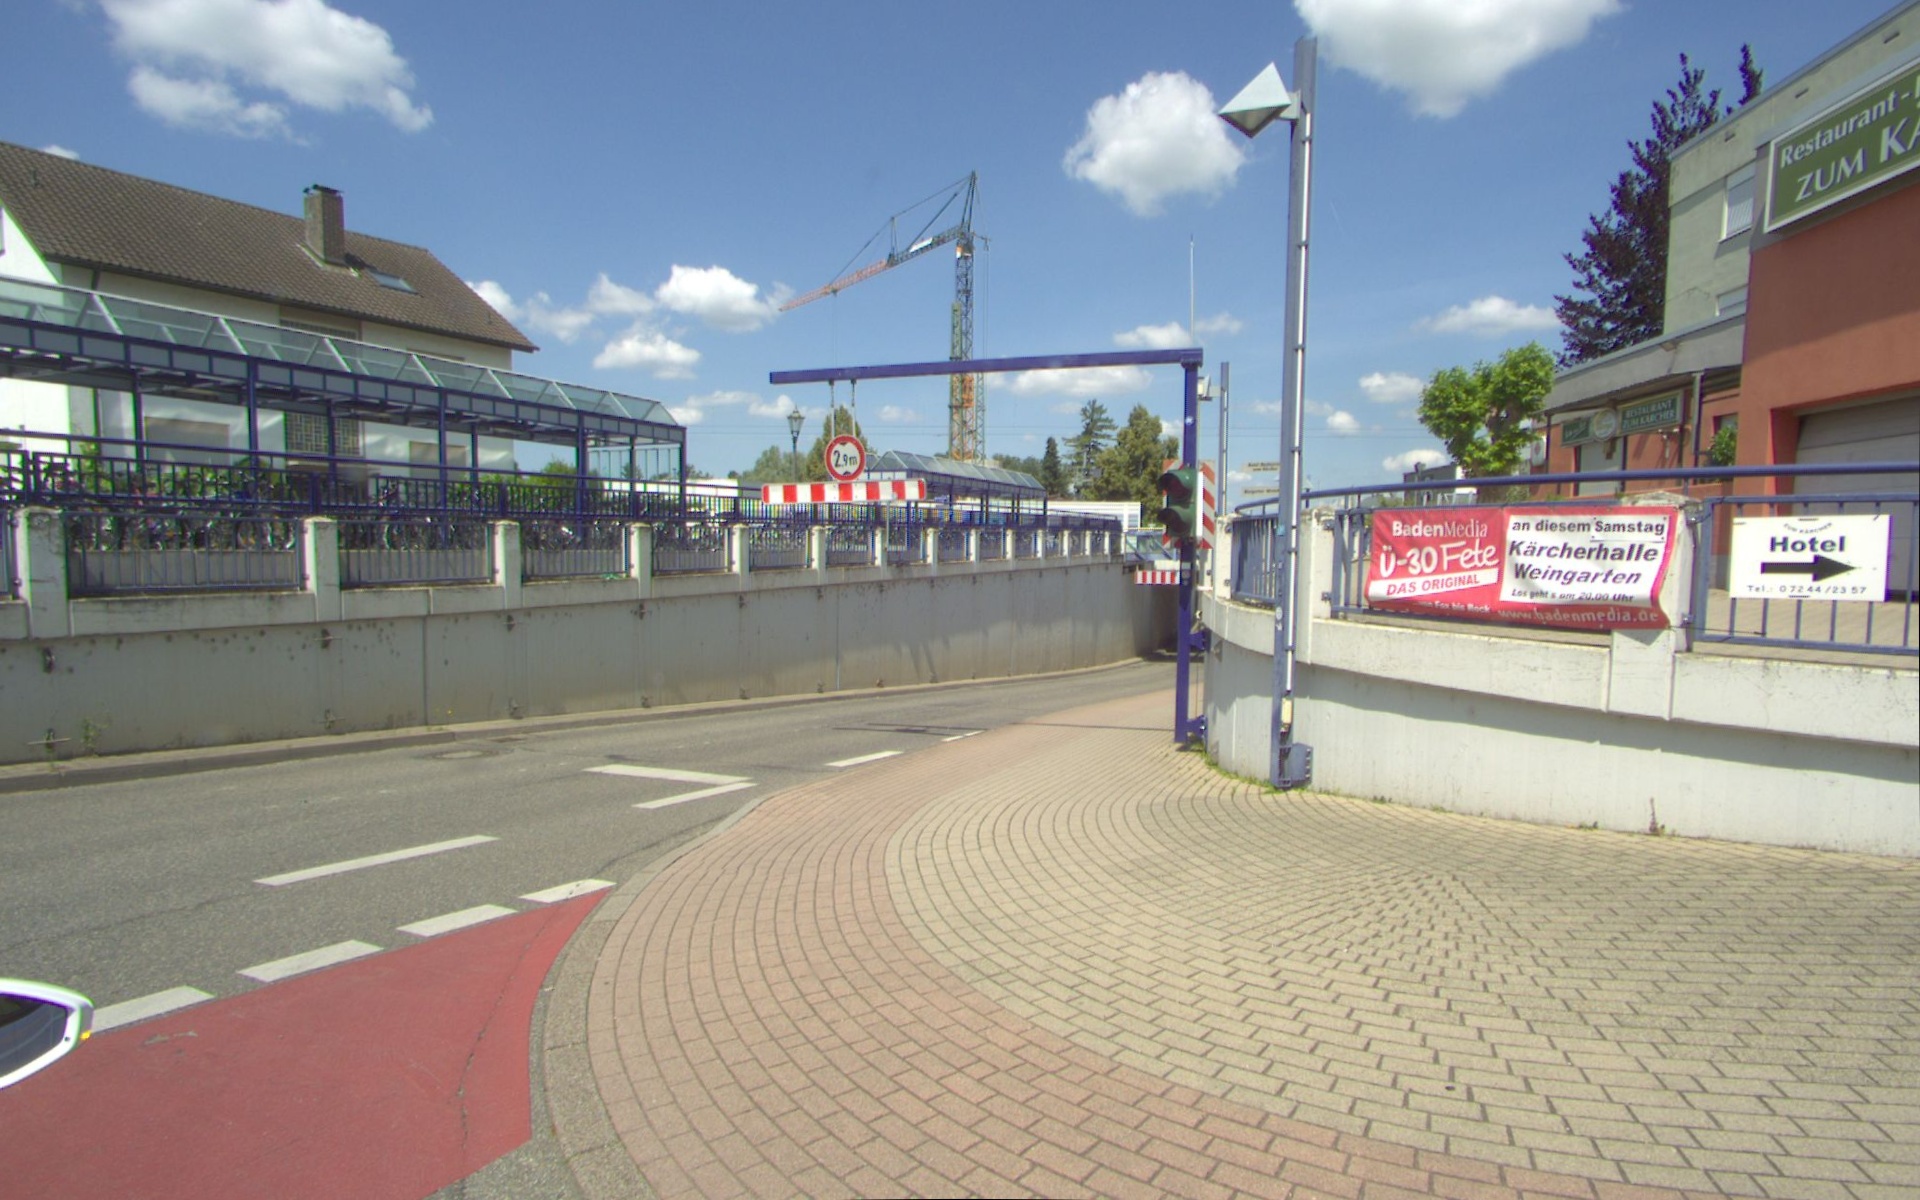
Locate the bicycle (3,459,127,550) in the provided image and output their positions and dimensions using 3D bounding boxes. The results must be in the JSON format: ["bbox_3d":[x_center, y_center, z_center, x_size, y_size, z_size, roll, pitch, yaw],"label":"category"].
[{"bbox_3d":[-10.589,-1.113,11.824,2.042,1.009,0.331,2,3,26],"label":"bicycle"}]

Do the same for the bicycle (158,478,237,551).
[{"bbox_3d":[-11.260,-1.243,14.762,1.939,1.009,0.371,3,3,36],"label":"bicycle"}]

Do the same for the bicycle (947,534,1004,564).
[{"bbox_3d":[0.537,-1.774,34.892,1.890,1.009,0.510,2,3,23],"label":"bicycle"}]

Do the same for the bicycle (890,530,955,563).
[{"bbox_3d":[-1.178,-1.674,31.391,1.992,1.009,0.510,2,3,23],"label":"bicycle"}]

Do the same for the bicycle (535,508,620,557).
[{"bbox_3d":[-8.091,-1.424,21.172,1.934,1.009,0.518,2,3,27],"label":"bicycle"}]

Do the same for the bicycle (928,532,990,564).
[{"bbox_3d":[-0.039,-1.727,33.385,1.992,1.009,0.510,2,3,23],"label":"bicycle"}]

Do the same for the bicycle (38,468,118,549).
[{"bbox_3d":[-11.776,-1.199,13.351,1.939,1.009,0.371,3,3,36],"label":"bicycle"}]

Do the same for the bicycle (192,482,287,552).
[{"bbox_3d":[-11.096,-1.264,15.400,1.935,1.009,0.425,3,3,30],"label":"bicycle"}]

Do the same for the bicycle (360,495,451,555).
[{"bbox_3d":[-9.871,-1.332,17.818,1.772,1.009,0.518,2,3,27],"label":"bicycle"}]

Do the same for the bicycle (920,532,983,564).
[{"bbox_3d":[-0.286,-1.712,32.843,1.992,1.009,0.510,2,3,23],"label":"bicycle"}]

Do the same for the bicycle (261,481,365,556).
[{"bbox_3d":[-9.260,-1.148,14.303,2.249,1.009,0.434,3,3,35],"label":"bicycle"}]

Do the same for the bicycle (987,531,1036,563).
[{"bbox_3d":[1.972,-2.007,38.157,1.792,1.174,0.510,2,3,25],"label":"bicycle"}]

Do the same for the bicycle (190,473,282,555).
[{"bbox_3d":[-9.568,-1.111,13.202,2.075,1.009,0.433,3,3,39],"label":"bicycle"}]

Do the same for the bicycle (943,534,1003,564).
[{"bbox_3d":[0.449,-1.751,34.267,1.992,1.009,0.510,2,3,23],"label":"bicycle"}]

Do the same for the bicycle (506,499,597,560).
[{"bbox_3d":[-7.268,-1.239,17.761,2.161,1.009,0.576,3,3,41],"label":"bicycle"}]

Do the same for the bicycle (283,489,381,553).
[{"bbox_3d":[-10.364,-1.292,16.509,1.934,1.009,0.413,2,3,27],"label":"bicycle"}]

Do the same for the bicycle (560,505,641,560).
[{"bbox_3d":[-6.928,-1.289,19.232,2.013,1.009,0.513,3,3,40],"label":"bicycle"}]

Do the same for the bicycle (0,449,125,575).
[{"bbox_3d":[-8.926,-0.804,9.081,0.327,1.141,2.113,3,3,25],"label":"bicycle"}]

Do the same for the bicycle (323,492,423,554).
[{"bbox_3d":[-10.066,-1.311,17.161,1.934,1.009,0.518,2,3,27],"label":"bicycle"}]

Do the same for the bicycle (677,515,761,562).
[{"bbox_3d":[-5.395,-1.378,22.364,2.008,1.009,0.543,3,3,30],"label":"bicycle"}]

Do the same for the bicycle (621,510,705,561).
[{"bbox_3d":[-6.118,-1.324,20.564,2.011,1.009,0.542,3,3,36],"label":"bicycle"}]

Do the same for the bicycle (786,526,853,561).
[{"bbox_3d":[-4.154,-1.669,29.586,1.992,1.009,0.510,2,3,23],"label":"bicycle"}]

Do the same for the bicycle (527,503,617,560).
[{"bbox_3d":[-7.213,-1.270,18.590,2.010,1.009,0.514,3,3,34],"label":"bicycle"}]

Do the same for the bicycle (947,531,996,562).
[{"bbox_3d":[0.441,-2.044,38.245,1.792,1.174,0.510,2,3,25],"label":"bicycle"}]

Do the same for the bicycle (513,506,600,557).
[{"bbox_3d":[-8.339,-1.411,20.680,1.934,1.009,0.518,2,3,27],"label":"bicycle"}]

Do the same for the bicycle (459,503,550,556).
[{"bbox_3d":[-8.943,-1.383,19.641,1.934,1.009,0.518,2,3,27],"label":"bicycle"}]

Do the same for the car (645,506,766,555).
[{"bbox_3d":[-9.432,-2.570,37.109,3.932,1.701,1.994,2,3,23],"label":"car"}]

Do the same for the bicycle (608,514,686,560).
[{"bbox_3d":[-7.136,-1.431,22.760,2.009,1.009,0.542,3,3,33],"label":"bicycle"}]

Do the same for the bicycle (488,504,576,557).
[{"bbox_3d":[-8.630,-1.397,20.169,1.934,1.009,0.518,2,3,27],"label":"bicycle"}]

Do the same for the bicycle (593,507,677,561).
[{"bbox_3d":[-6.453,-1.302,19.816,2.011,1.009,0.514,3,3,36],"label":"bicycle"}]

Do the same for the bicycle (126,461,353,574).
[{"bbox_3d":[-7.931,-0.863,11.161,0.386,1.141,2.113,3,3,25],"label":"bicycle"}]

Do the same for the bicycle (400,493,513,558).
[{"bbox_3d":[-8.261,-1.208,16.403,2.154,1.009,0.531,3,3,29],"label":"bicycle"}]

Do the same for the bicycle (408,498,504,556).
[{"bbox_3d":[-9.235,-1.338,18.332,1.934,1.009,0.518,2,3,27],"label":"bicycle"}]

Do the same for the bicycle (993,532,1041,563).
[{"bbox_3d":[2.190,-2.022,38.656,1.792,1.174,0.510,2,3,25],"label":"bicycle"}]

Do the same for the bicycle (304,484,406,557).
[{"bbox_3d":[-8.969,-1.161,14.808,2.249,1.009,0.434,3,3,35],"label":"bicycle"}]

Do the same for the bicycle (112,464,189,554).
[{"bbox_3d":[-9.896,-1.080,12.214,2.078,1.009,0.433,3,4,43],"label":"bicycle"}]

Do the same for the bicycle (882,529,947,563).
[{"bbox_3d":[-1.411,-1.657,30.818,1.992,1.009,0.436,2,3,23],"label":"bicycle"}]

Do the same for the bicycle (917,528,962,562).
[{"bbox_3d":[-0.744,-1.988,36.137,1.574,1.174,0.385,2,3,25],"label":"bicycle"}]

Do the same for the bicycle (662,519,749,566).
[{"bbox_3d":[-5.714,-1.287,22.425,2.127,1.009,0.436,2,3,26],"label":"bicycle"}]

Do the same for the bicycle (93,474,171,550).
[{"bbox_3d":[-11.769,-1.232,14.209,1.939,1.009,0.371,3,3,36],"label":"bicycle"}]

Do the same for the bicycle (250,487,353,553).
[{"bbox_3d":[-10.592,-1.280,16.090,1.934,1.009,0.473,2,3,27],"label":"bicycle"}]

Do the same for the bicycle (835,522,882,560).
[{"bbox_3d":[-3.205,-1.861,31.524,1.579,1.174,0.384,3,3,35],"label":"bicycle"}]

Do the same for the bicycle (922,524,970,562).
[{"bbox_3d":[-0.458,-1.820,31.998,1.579,1.174,0.427,3,3,35],"label":"bicycle"}]

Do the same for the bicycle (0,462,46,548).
[{"bbox_3d":[-11.976,-1.177,12.672,1.867,1.009,0.452,4,4,44],"label":"bicycle"}]

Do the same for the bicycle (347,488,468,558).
[{"bbox_3d":[-8.536,-1.176,15.445,2.245,1.009,0.531,3,3,29],"label":"bicycle"}]

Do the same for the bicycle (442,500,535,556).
[{"bbox_3d":[-8.970,-1.360,19.022,1.934,1.009,0.518,2,3,27],"label":"bicycle"}]

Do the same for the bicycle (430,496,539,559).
[{"bbox_3d":[-8.144,-1.233,17.122,2.154,1.009,0.531,3,3,29],"label":"bicycle"}]
